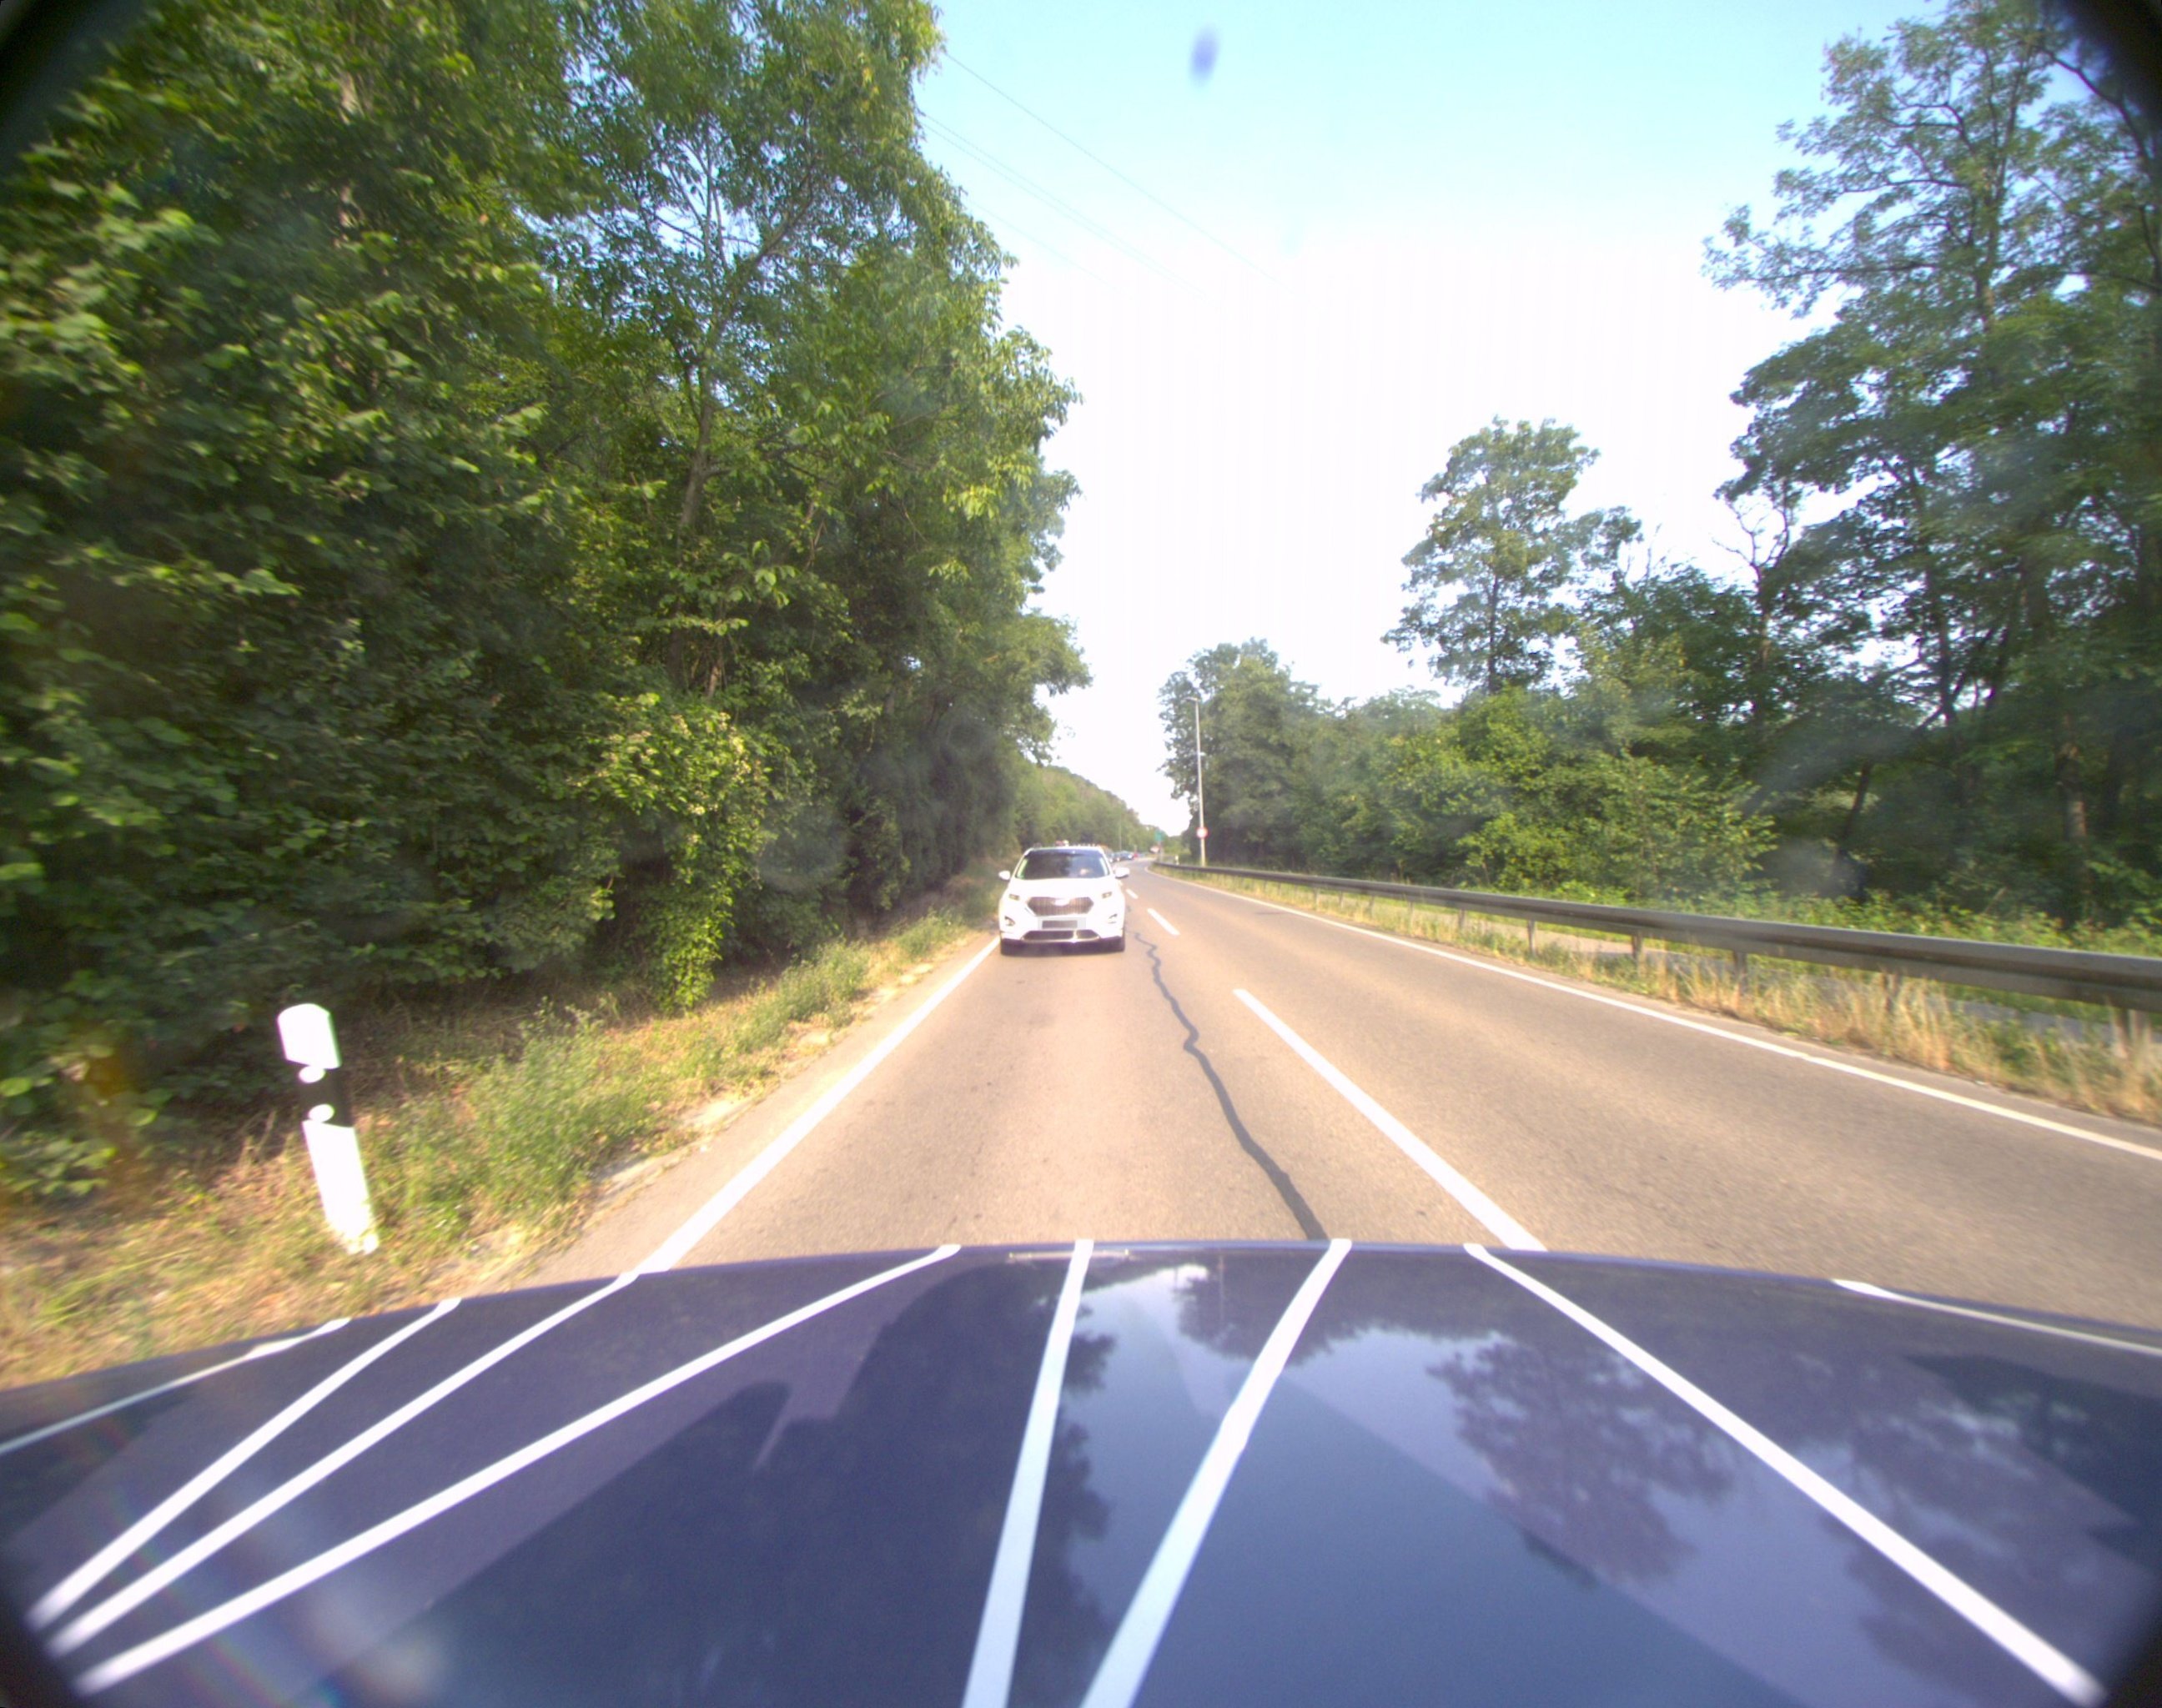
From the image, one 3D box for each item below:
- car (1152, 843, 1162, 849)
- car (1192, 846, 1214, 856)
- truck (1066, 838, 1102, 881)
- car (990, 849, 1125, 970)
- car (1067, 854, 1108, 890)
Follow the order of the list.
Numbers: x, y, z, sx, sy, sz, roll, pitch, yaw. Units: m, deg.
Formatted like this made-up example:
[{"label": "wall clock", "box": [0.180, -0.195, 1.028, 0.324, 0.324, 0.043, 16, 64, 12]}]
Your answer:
[{"label": "car", "box": [20.067, -2.121, 200.362, 1.996, 1.697, 4.004, -2, 1, 17]}, {"label": "car", "box": [25.776, -0.650, 160.493, 4.522, 2.002, 2.000, -1, 1, 3]}, {"label": "truck", "box": [0.205, 0.302, 44.658, 1.894, 2.334, 5.273, -2, 0, 1]}, {"label": "car", "box": [-0.310, 0.787, 12.951, 1.894, 1.691, 4.136, -2, 0, 1]}, {"label": "car", "box": [0.292, 0.757, 34.347, 1.704, 1.477, 4.136, -2, 0, 1]}]
